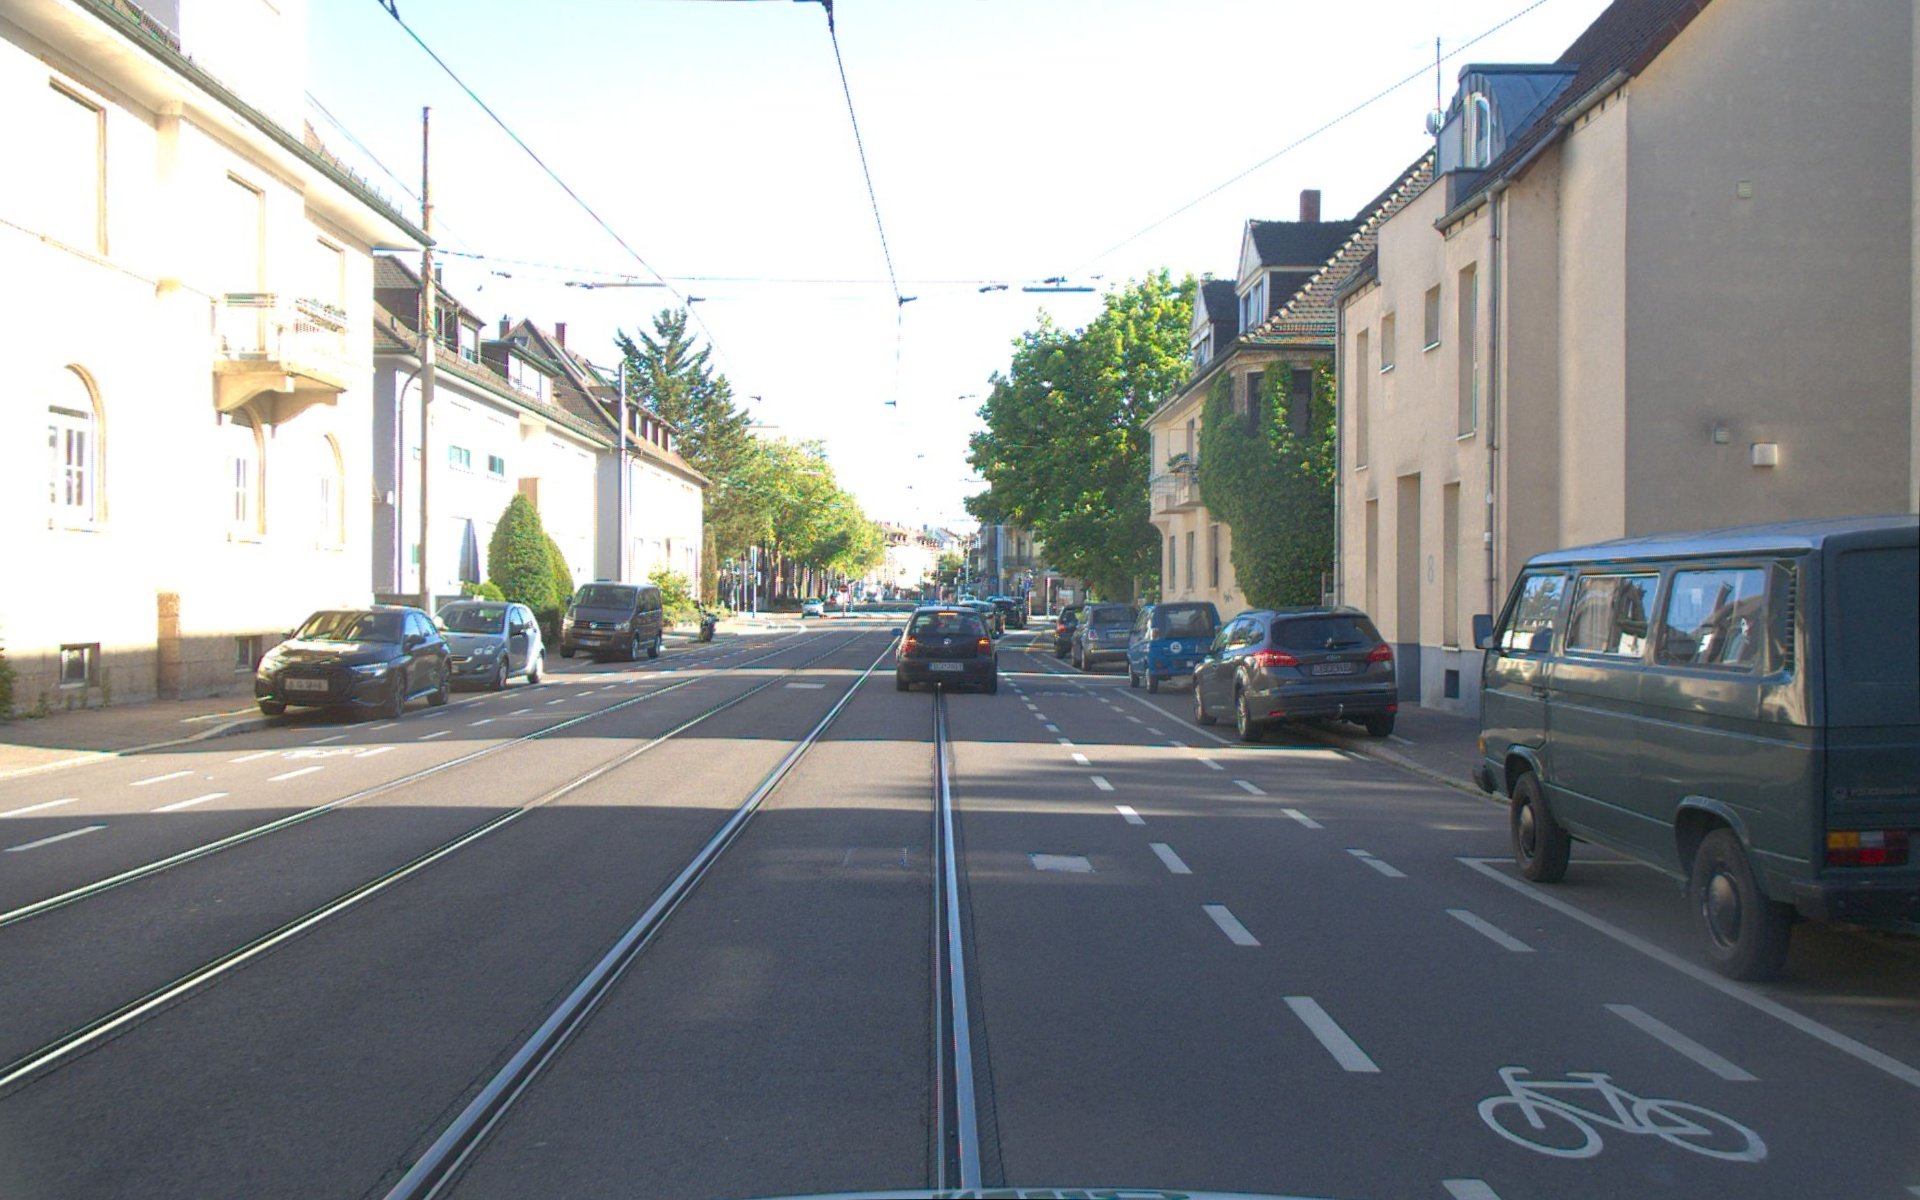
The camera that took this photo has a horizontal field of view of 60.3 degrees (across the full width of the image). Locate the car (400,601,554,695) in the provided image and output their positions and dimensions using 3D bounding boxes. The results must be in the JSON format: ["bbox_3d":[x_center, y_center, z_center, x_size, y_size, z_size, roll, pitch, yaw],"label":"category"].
[{"bbox_3d":[-8.561,0.802,29.638,1.642,1.503,3.834,2,0,-1],"label":"car"}]

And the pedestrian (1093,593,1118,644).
[{"bbox_3d":[5.006,0.634,56.849,0.703,1.717,0.870,-1,0,-2],"label":"pedestrian"}]

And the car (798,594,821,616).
[{"bbox_3d":[-10.781,0.343,118.675,1.544,1.503,3.437,-1,0,-5],"label":"car"}]

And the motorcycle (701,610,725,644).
[{"bbox_3d":[-8.850,0.954,59.330,0.525,1.183,2.171,-2,0,-1],"label":"motorcycle"}]

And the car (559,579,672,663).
[{"bbox_3d":[-9.006,0.510,43.625,1.867,2.049,4.949,2,0,0],"label":"car"}]

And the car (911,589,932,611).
[{"bbox_3d":[-3.575,0.011,152.401,1.751,1.892,3.998,2,0,-3],"label":"car"}]

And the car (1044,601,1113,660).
[{"bbox_3d":[3.328,0.841,47.033,1.632,1.591,3.770,1,0,-1],"label":"car"}]

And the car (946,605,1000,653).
[{"bbox_3d":[0.389,0.867,51.263,1.601,1.396,3.757,0,0,0],"label":"car"}]

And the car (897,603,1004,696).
[{"bbox_3d":[-0.180,0.804,28.575,1.681,1.427,4.005,2,0,-1],"label":"car"}]

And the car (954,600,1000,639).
[{"bbox_3d":[0.651,0.754,65.212,1.704,1.466,3.809,0,0,-1],"label":"car"}]

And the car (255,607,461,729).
[{"bbox_3d":[-8.255,0.864,23.059,1.630,1.503,4.246,0,0,-5],"label":"car"}]

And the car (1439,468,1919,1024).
[{"bbox_3d":[4.092,0.546,8.353,1.867,2.022,4.561,2,0,-2],"label":"car"}]

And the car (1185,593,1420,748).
[{"bbox_3d":[4.014,0.756,20.120,1.709,1.627,4.431,2,0,-3],"label":"car"}]

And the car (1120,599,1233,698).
[{"bbox_3d":[3.850,0.829,29.855,1.428,1.627,3.292,2,0,-3],"label":"car"}]

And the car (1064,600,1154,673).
[{"bbox_3d":[3.425,0.814,38.557,1.569,1.552,3.547,2,0,-3],"label":"car"}]

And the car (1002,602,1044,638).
[{"bbox_3d":[2.731,0.861,72.464,1.538,1.334,3.645,0,3,-3],"label":"car"}]
